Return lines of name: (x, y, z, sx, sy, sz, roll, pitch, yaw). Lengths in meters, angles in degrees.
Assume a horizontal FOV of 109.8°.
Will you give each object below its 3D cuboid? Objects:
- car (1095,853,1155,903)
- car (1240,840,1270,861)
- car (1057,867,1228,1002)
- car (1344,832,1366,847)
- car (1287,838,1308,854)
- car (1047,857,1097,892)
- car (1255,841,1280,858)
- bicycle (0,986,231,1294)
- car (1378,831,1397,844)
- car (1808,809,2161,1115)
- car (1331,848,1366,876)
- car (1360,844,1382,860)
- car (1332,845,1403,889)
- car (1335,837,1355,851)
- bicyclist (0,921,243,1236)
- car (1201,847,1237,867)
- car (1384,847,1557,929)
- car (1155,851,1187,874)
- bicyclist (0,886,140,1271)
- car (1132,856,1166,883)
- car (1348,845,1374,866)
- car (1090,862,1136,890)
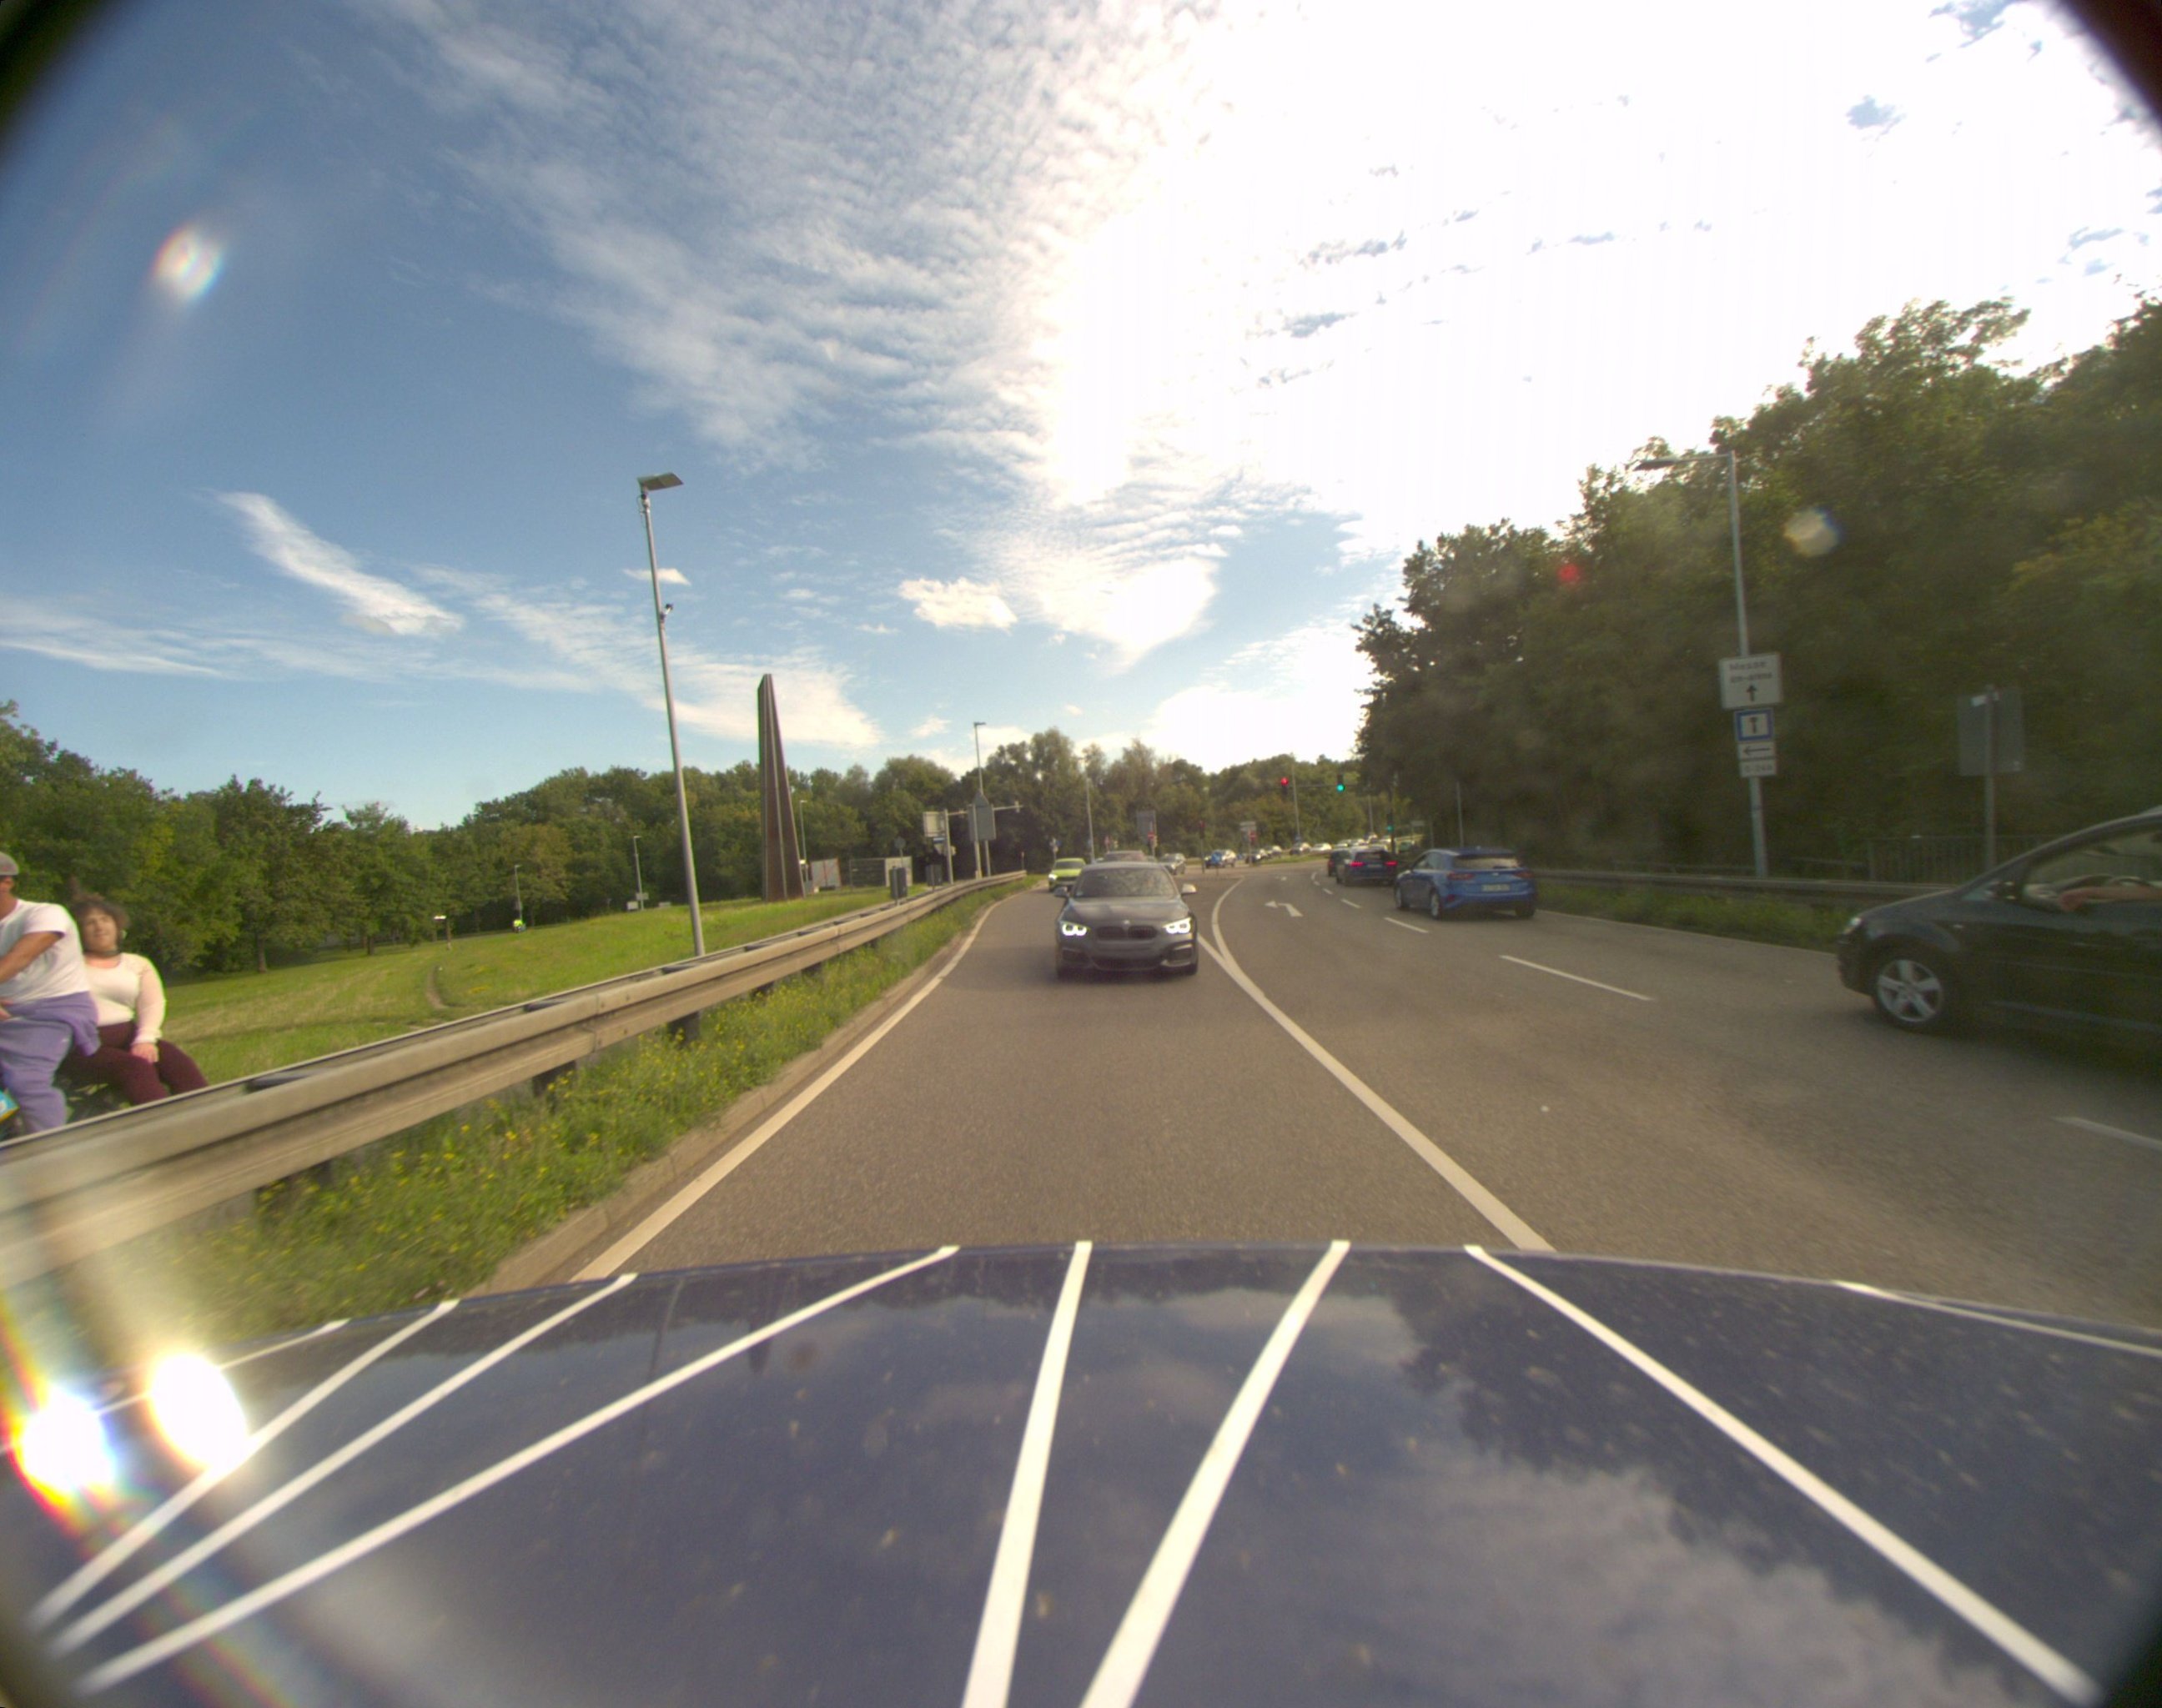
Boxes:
car: (1.549, 0.751, 26.014, 1.818, 1.498, 4.392, -2, 0, 4)
car: (18.625, -0.374, 81.127, 1.995, 2.002, 4.280, -2, 1, 28)
car: (0.644, 0.937, 10.604, 1.787, 1.396, 3.969, -2, 0, -4)
car: (39.281, -2.069, 108.834, 1.995, 2.002, 4.007, -2, 1, 32)
car: (29.294, -1.109, 102.622, 1.995, 2.002, 4.006, -2, 1, 26)
car: (-0.323, 0.897, 34.469, 1.818, 1.396, 4.392, -2, 0, 5)
car: (22.809, -0.560, 92.739, 1.995, 2.002, 4.006, -2, 1, 27)
bicycle: (-4.765, 1.264, 3.115, 0.597, 1.114, 1.696, -3, 1, -1)
car: (52.253, -2.801, 129.440, 1.994, 2.002, 4.007, -2, 1, 37)
car: (6.646, 0.545, 3.862, 1.750, 1.644, 4.454, -2, 0, 3)
car: (14.329, 0.380, 40.625, 1.626, 1.357, 3.779, -2, 0, 21)
car: (27.018, -0.180, 70.739, 1.816, 1.396, 4.397, -2, 0, 21)
car: (11.091, 0.463, 29.722, 1.817, 1.511, 4.768, -2, 0, 12)
car: (39.964, -1.519, 115.005, 1.995, 2.002, 4.007, -2, 1, 31)
bicyclist: (-4.700, 1.045, 3.722, 0.501, 1.364, 0.538, -3, 1, -1)
car: (12.987, 0.268, 71.188, 1.995, 1.591, 4.288, -2, 1, 29)
car: (8.002, 0.613, 16.124, 1.896, 1.439, 4.363, -2, 0, 8)
car: (6.679, 0.577, 55.957, 1.638, 1.543, 3.745, -2, 0, 18)
bicyclist: (-4.794, 0.942, 3.164, 0.709, 1.548, 0.754, -3, 1, -1)
car: (3.758, 0.824, 42.701, 1.690, 1.315, 3.785, -3, 1, 3)
car: (22.153, 0.126, 60.068, 1.816, 1.511, 4.833, -2, 0, 21)
car: (2.142, 1.364, 49.027, 1.996, 1.543, 4.004, -2, 1, 16)
